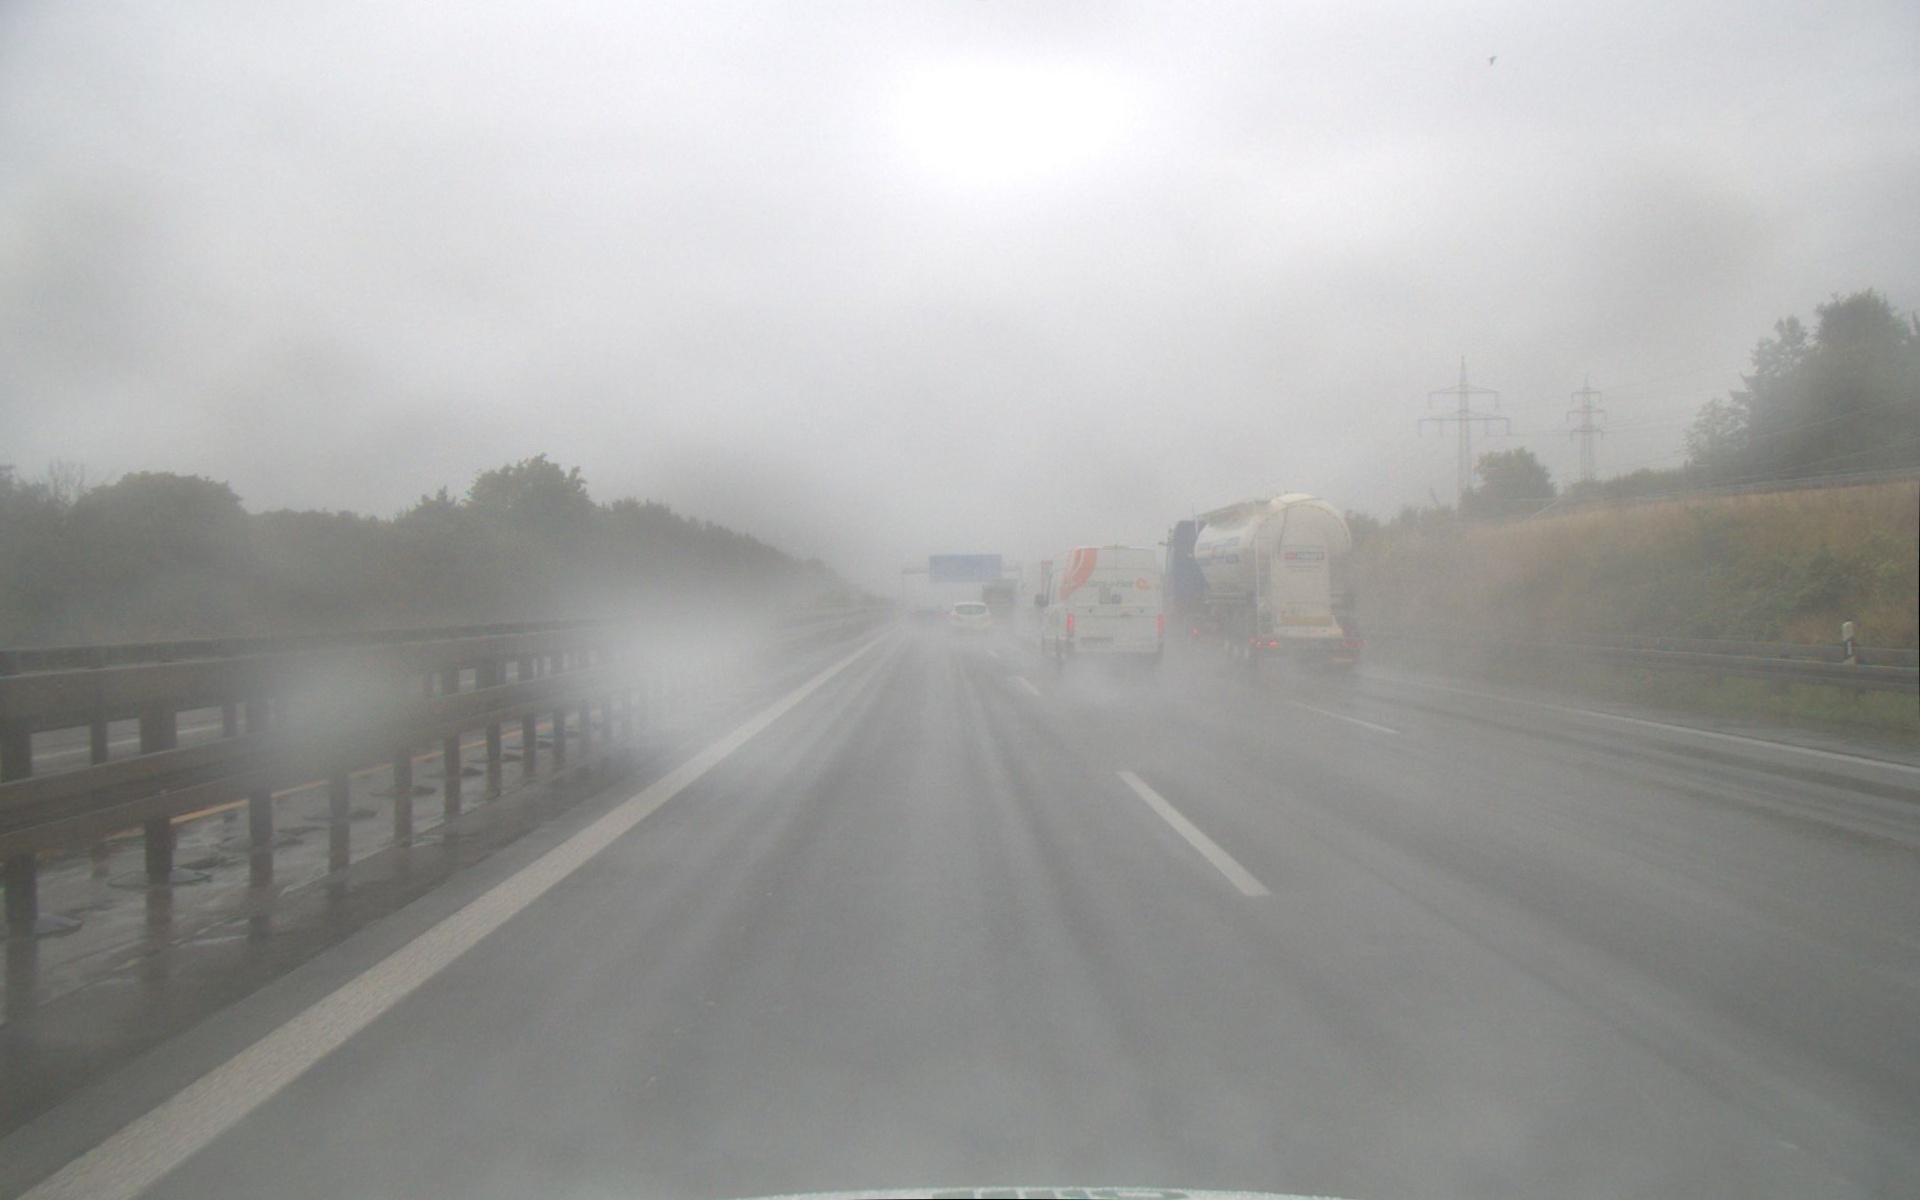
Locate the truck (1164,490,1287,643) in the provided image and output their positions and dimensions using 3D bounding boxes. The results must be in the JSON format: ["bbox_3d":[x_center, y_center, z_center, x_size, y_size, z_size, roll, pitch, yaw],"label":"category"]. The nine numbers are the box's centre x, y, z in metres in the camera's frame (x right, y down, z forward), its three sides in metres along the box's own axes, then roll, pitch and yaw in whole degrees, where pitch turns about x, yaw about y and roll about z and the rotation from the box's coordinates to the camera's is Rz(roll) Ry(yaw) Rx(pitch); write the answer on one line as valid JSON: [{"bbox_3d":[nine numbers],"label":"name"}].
[{"bbox_3d":[7.396,-0.896,46.664,2.446,4.053,5.074,1,0,-2],"label":"truck"}]

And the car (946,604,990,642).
[{"bbox_3d":[0.273,0.869,63.456,1.573,1.361,3.847,1,0,-1],"label":"car"}]

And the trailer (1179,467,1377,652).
[{"bbox_3d":[7.583,-0.886,41.147,2.447,3.950,11.062,1,0,-2],"label":"trailer"}]

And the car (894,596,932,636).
[{"bbox_3d":[-2.203,0.730,78.488,1.667,1.850,3.861,1,0,-1],"label":"car"}]

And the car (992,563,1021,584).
[{"bbox_3d":[4.839,-2.738,172.045,2.732,2.049,4.991,1,0,-1],"label":"car"}]

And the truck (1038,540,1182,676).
[{"bbox_3d":[2.974,0.142,34.120,2.370,2.536,5.559,1,0,-1],"label":"truck"}]

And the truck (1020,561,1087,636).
[{"bbox_3d":[6.176,0.035,111.849,2.978,4.668,16.343,1,-1,-2],"label":"truck"}]
